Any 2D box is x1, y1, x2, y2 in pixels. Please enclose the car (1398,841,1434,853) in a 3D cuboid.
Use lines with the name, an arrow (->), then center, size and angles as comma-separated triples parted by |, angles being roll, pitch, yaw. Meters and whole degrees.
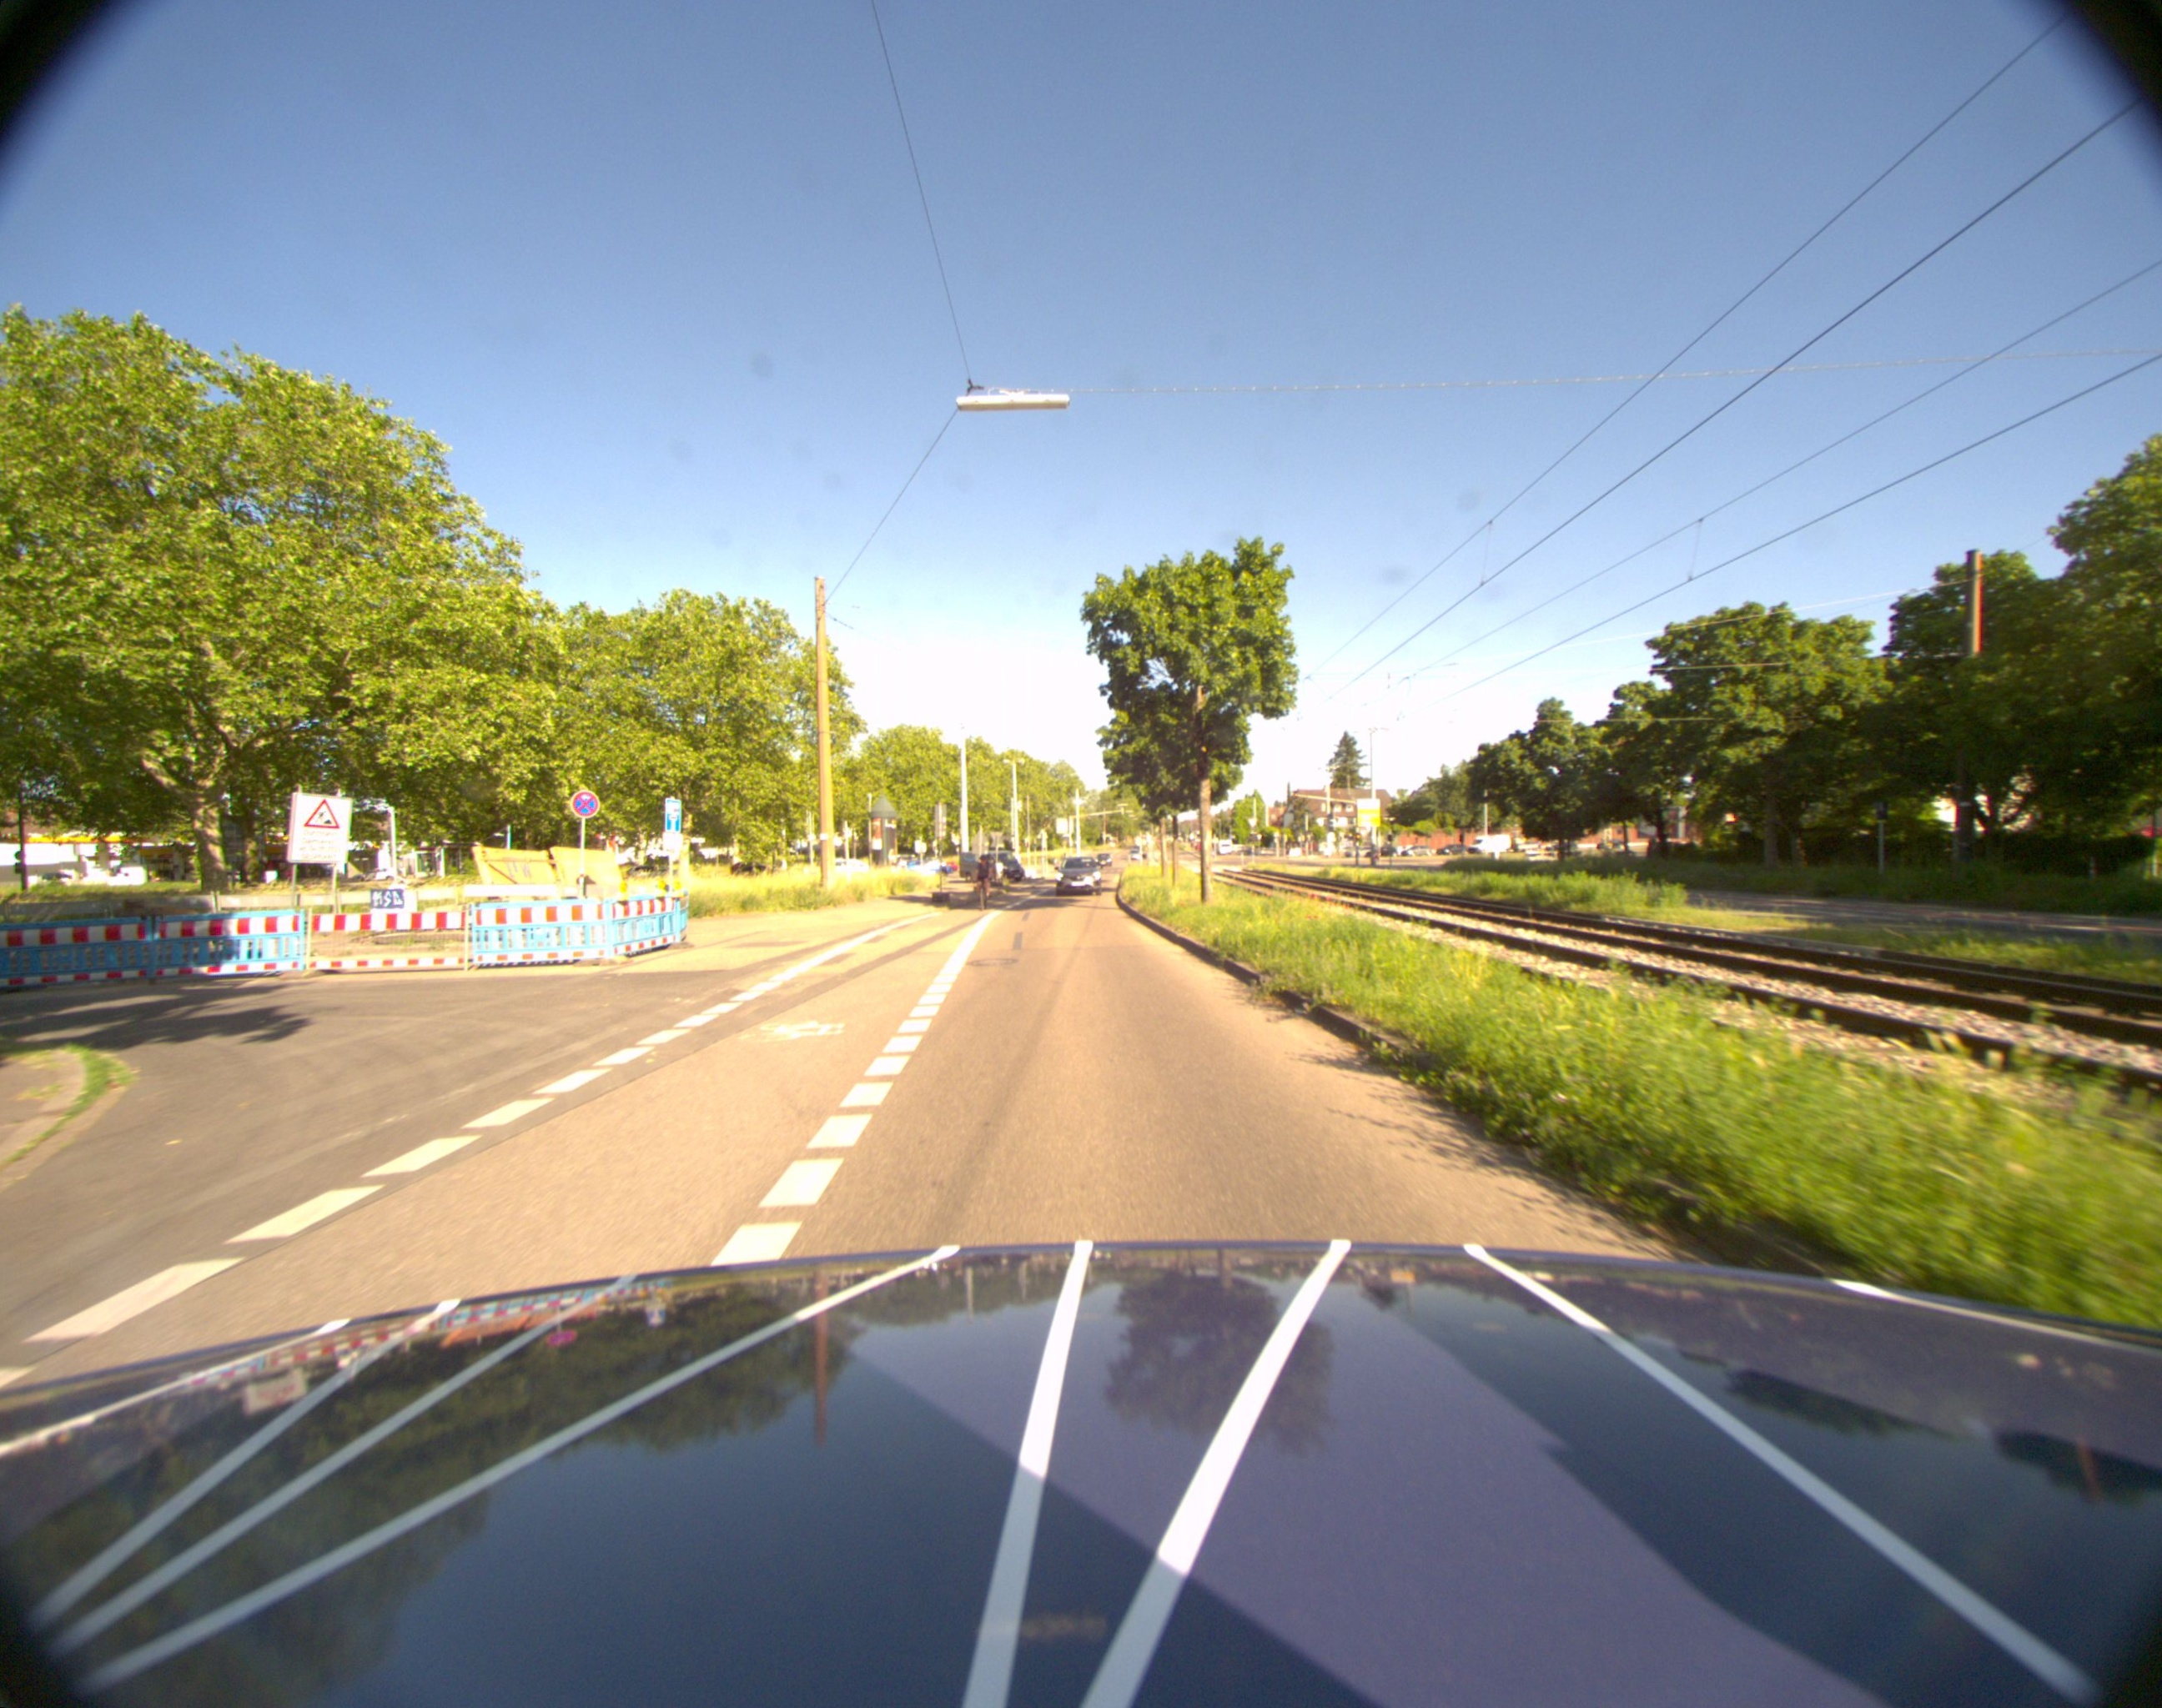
car -> 43.536, -0.933, 98.719 | 4.263, 1.458, 1.934 | -2, 1, -22

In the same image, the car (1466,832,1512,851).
car -> 55.190, -1.694, 102.759 | 5.927, 2.397, 2.177 | -1, 2, -20

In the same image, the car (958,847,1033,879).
car -> -5.947, 0.586, 52.419 | 5.104, 2.059, 2.135 | 0, 2, 40

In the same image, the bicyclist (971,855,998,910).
bicyclist -> -3.016, 0.873, 23.811 | 0.616, 1.670, 0.933 | -1, 2, 5

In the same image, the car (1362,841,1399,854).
car -> 38.215, -0.841, 97.019 | 4.253, 1.458, 1.934 | -2, 2, -22

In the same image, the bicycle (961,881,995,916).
bicycle -> -3.121, 1.340, 23.257 | 0.525, 0.918, 2.089 | -1, 2, 6

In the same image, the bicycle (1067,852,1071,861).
bicycle -> -1.478, 0.298, 94.072 | 0.468, 1.112, 1.819 | -1, 1, -2

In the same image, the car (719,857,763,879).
car -> -28.370, 1.175, 63.488 | 3.212, 1.608, 1.369 | -2, 5, -23

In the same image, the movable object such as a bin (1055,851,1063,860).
movable object such as a bin -> -2.652, 0.201, 92.421 | 0.911, 1.062, 1.316 | -1, 2, -3

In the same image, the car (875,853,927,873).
car -> -17.005, 0.836, 71.829 | 4.499, 1.702, 1.917 | -1, 2, -22

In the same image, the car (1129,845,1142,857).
car -> 7.933, -0.434, 109.852 | 1.881, 1.519, 4.421 | -1, 2, 4

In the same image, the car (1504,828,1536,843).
car -> 60.746, -2.558, 105.114 | 4.004, 2.002, 1.804 | -2, 2, -23

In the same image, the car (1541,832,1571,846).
car -> 70.188, -2.257, 112.252 | 4.004, 2.002, 1.804 | -2, 2, -23

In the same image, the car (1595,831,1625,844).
car -> 76.867, -2.379, 110.433 | 4.004, 1.732, 1.804 | -1, 1, -23

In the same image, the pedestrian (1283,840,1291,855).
pedestrian -> 27.425, -0.899, 101.169 | 0.612, 1.937, 0.774 | -2, 2, -38

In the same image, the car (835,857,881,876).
car -> -19.776, 1.092, 67.418 | 3.863, 1.591, 1.710 | -1, 1, -19

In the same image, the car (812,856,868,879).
car -> -19.950, 1.087, 62.901 | 4.179, 1.669, 1.931 | -1, 1, -23

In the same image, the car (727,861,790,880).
car -> -25.947, 1.304, 61.225 | 4.575, 1.399, 1.931 | -1, 0, -23

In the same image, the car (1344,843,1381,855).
car -> 36.975, -0.713, 99.862 | 4.641, 1.469, 1.669 | -1, 2, -22

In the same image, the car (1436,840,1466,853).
car -> 48.861, -0.982, 100.357 | 3.531, 1.559, 1.495 | -2, 1, -20

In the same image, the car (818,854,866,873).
car -> -21.813, 0.884, 69.422 | 4.004, 1.608, 1.996 | -1, 0, -22

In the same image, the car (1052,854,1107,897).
car -> -0.006, 0.827, 31.360 | 1.838, 1.542, 3.816 | -1, 2, 6

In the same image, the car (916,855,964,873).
car -> -12.977, 0.903, 69.707 | 4.093, 1.591, 1.813 | -1, 1, -19

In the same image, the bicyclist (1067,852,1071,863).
bicyclist -> -1.461, 0.475, 93.414 | 0.511, 1.333, 0.565 | -1, 2, -2

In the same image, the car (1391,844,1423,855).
car -> 44.211, -0.635, 103.081 | 4.004, 1.469, 1.669 | -1, 2, -22

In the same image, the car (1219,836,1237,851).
car -> 25.176, -1.901, 130.053 | 2.344, 2.444, 6.877 | 0, 2, 17

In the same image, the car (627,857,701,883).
car -> -32.333, 1.206, 59.052 | 4.780, 1.673, 1.905 | -3, 3, -22

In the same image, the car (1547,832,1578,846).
car -> 68.510, -2.137, 108.119 | 4.004, 2.002, 1.804 | -2, 2, -23

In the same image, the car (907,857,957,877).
car -> -12.821, 1.083, 65.411 | 3.864, 1.591, 1.709 | -1, 1, -24
